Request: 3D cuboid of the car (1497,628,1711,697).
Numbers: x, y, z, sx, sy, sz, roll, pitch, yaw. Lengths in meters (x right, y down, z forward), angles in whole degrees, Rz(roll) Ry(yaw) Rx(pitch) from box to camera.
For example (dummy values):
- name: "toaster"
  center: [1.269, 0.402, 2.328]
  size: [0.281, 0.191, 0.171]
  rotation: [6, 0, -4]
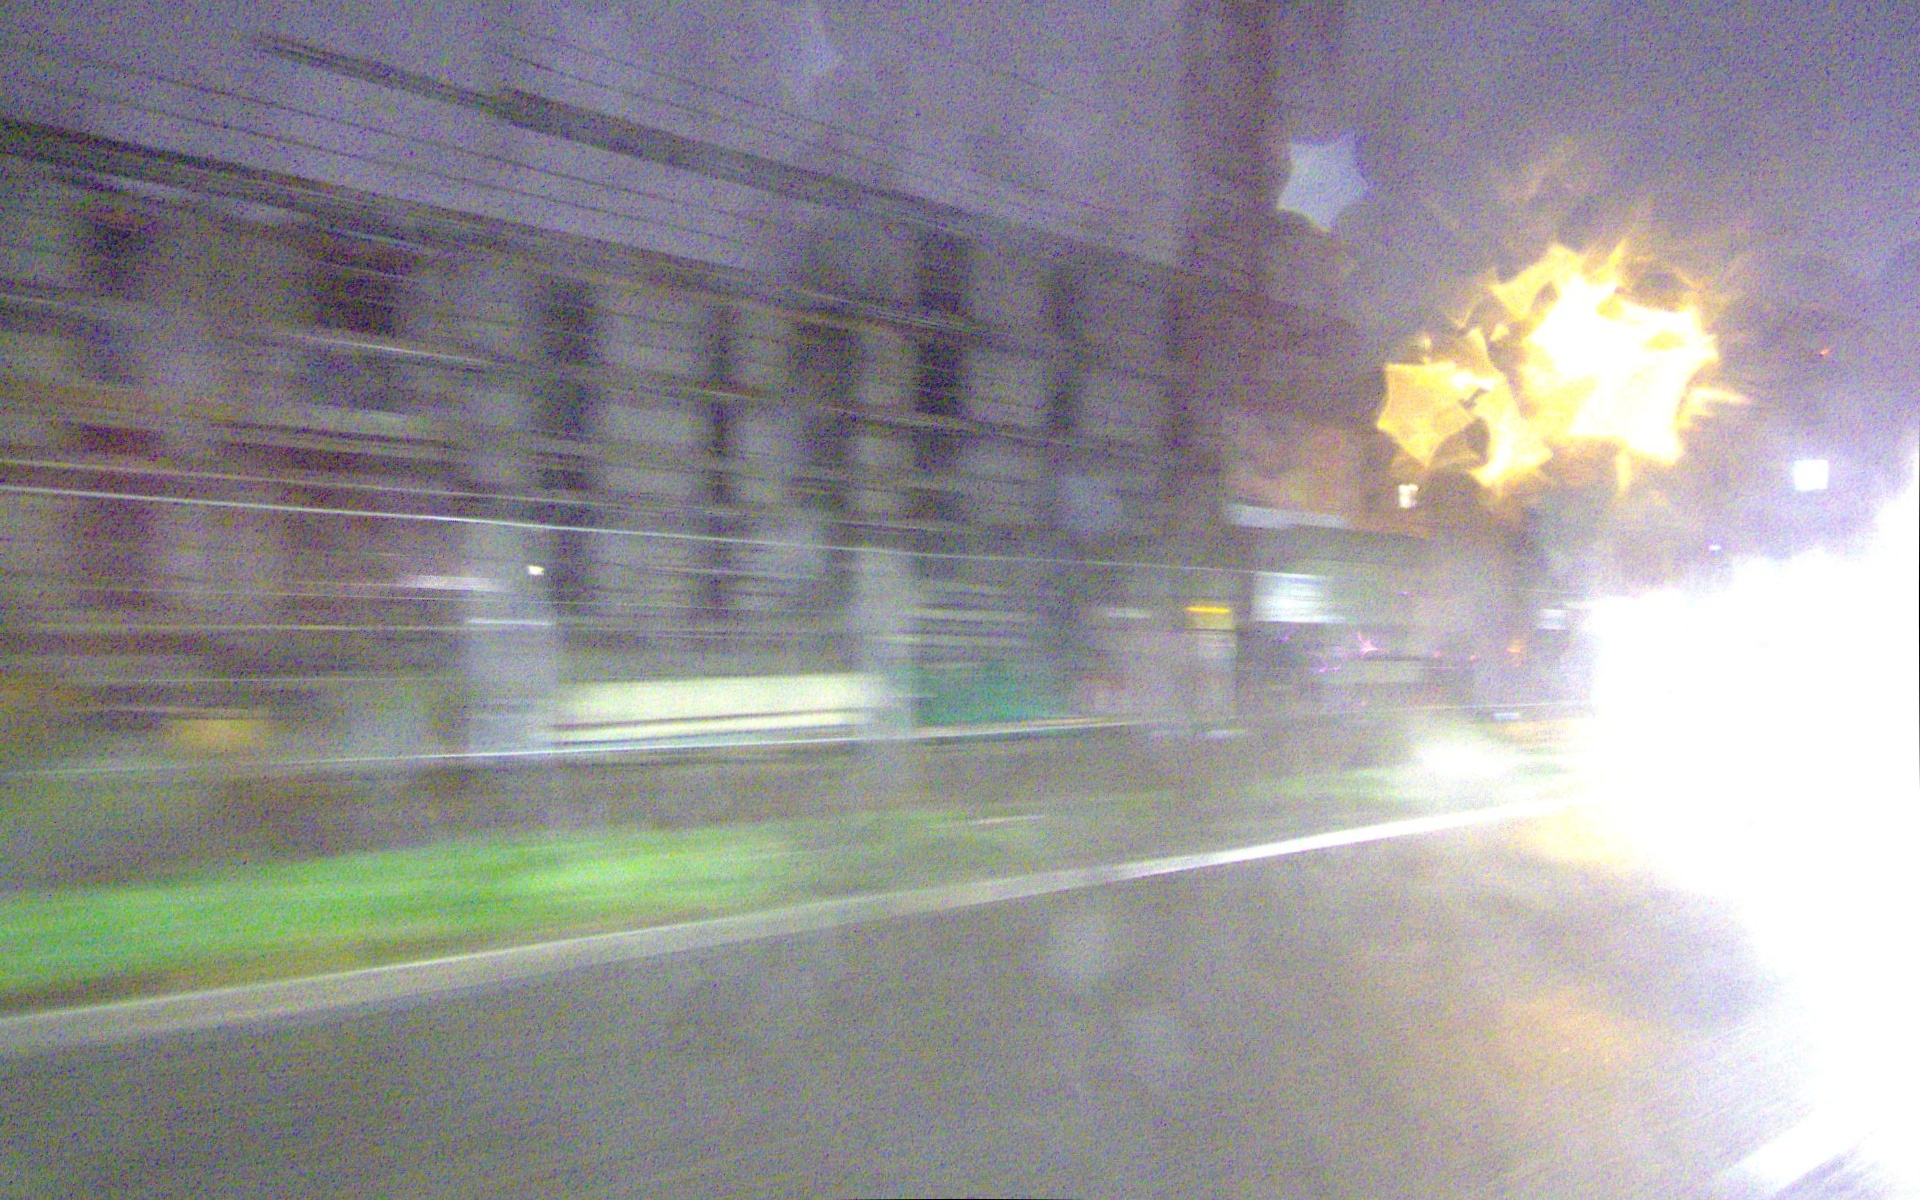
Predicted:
- name: "car"
  center: [17.030, 1.594, 26.876]
  size: [1.968, 1.640, 4.687]
  rotation: [2, -2, -17]
